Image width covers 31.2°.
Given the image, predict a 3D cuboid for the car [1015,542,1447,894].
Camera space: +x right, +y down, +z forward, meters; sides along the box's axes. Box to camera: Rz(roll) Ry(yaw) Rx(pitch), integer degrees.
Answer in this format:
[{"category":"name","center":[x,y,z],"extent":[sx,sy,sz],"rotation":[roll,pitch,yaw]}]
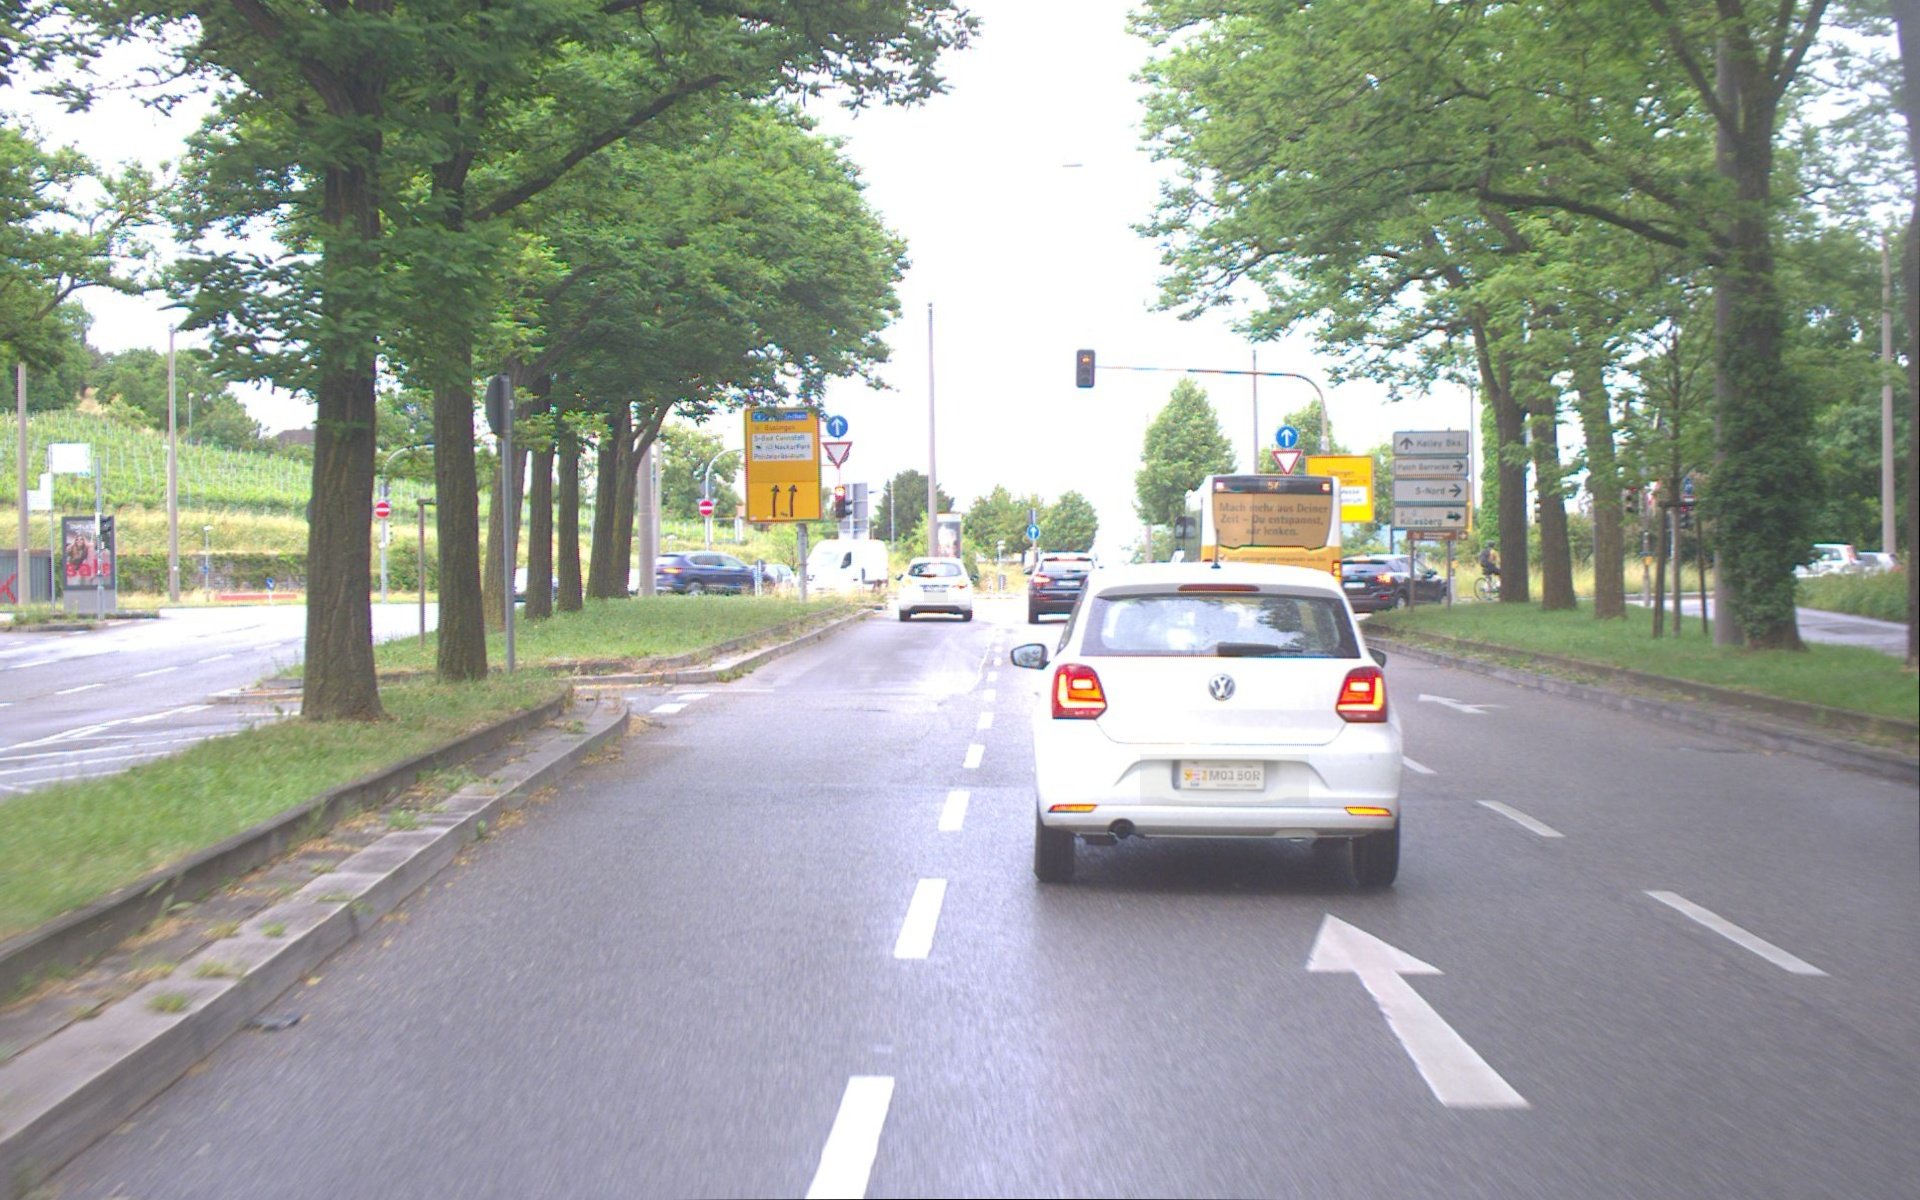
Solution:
[{"category":"car","center":[1.196,0.487,16.787],"extent":[1.794,1.497,4.000],"rotation":[1,1,0]}]

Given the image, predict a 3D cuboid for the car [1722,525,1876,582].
[{"category":"car","center":[24.203,-1.343,99.160],"extent":[3.991,1.531,1.998],"rotation":[-1,1,23]}]

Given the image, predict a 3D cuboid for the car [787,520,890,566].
[{"category":"car","center":[-5.574,-2.635,158.885],"extent":[1.997,2.007,5.701],"rotation":[-1,1,30]}]

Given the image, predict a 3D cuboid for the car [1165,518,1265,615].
[{"category":"car","center":[5.522,-0.709,74.862],"extent":[1.993,2.007,4.000],"rotation":[-1,0,2]}]

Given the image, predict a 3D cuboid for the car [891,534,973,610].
[{"category":"car","center":[-0.642,-0.679,80.780],"extent":[1.794,1.735,4.000],"rotation":[-1,1,1]}]

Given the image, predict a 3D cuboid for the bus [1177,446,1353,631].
[{"category":"bus","center":[5.748,-1.183,66.159],"extent":[2.828,3.255,10.000],"rotation":[0,1,2]}]

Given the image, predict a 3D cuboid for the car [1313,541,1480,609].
[{"category":"car","center":[9.941,-0.577,78.245],"extent":[3.817,1.510,1.699],"rotation":[-1,1,-43]}]

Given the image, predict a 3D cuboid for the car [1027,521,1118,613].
[{"category":"car","center":[2.582,-0.763,78.864],"extent":[1.993,2.007,4.000],"rotation":[-1,1,2]}]

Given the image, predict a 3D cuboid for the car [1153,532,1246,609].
[{"category":"car","center":[5.534,-0.669,79.861],"extent":[1.993,1.711,4.000],"rotation":[-1,0,2]}]
